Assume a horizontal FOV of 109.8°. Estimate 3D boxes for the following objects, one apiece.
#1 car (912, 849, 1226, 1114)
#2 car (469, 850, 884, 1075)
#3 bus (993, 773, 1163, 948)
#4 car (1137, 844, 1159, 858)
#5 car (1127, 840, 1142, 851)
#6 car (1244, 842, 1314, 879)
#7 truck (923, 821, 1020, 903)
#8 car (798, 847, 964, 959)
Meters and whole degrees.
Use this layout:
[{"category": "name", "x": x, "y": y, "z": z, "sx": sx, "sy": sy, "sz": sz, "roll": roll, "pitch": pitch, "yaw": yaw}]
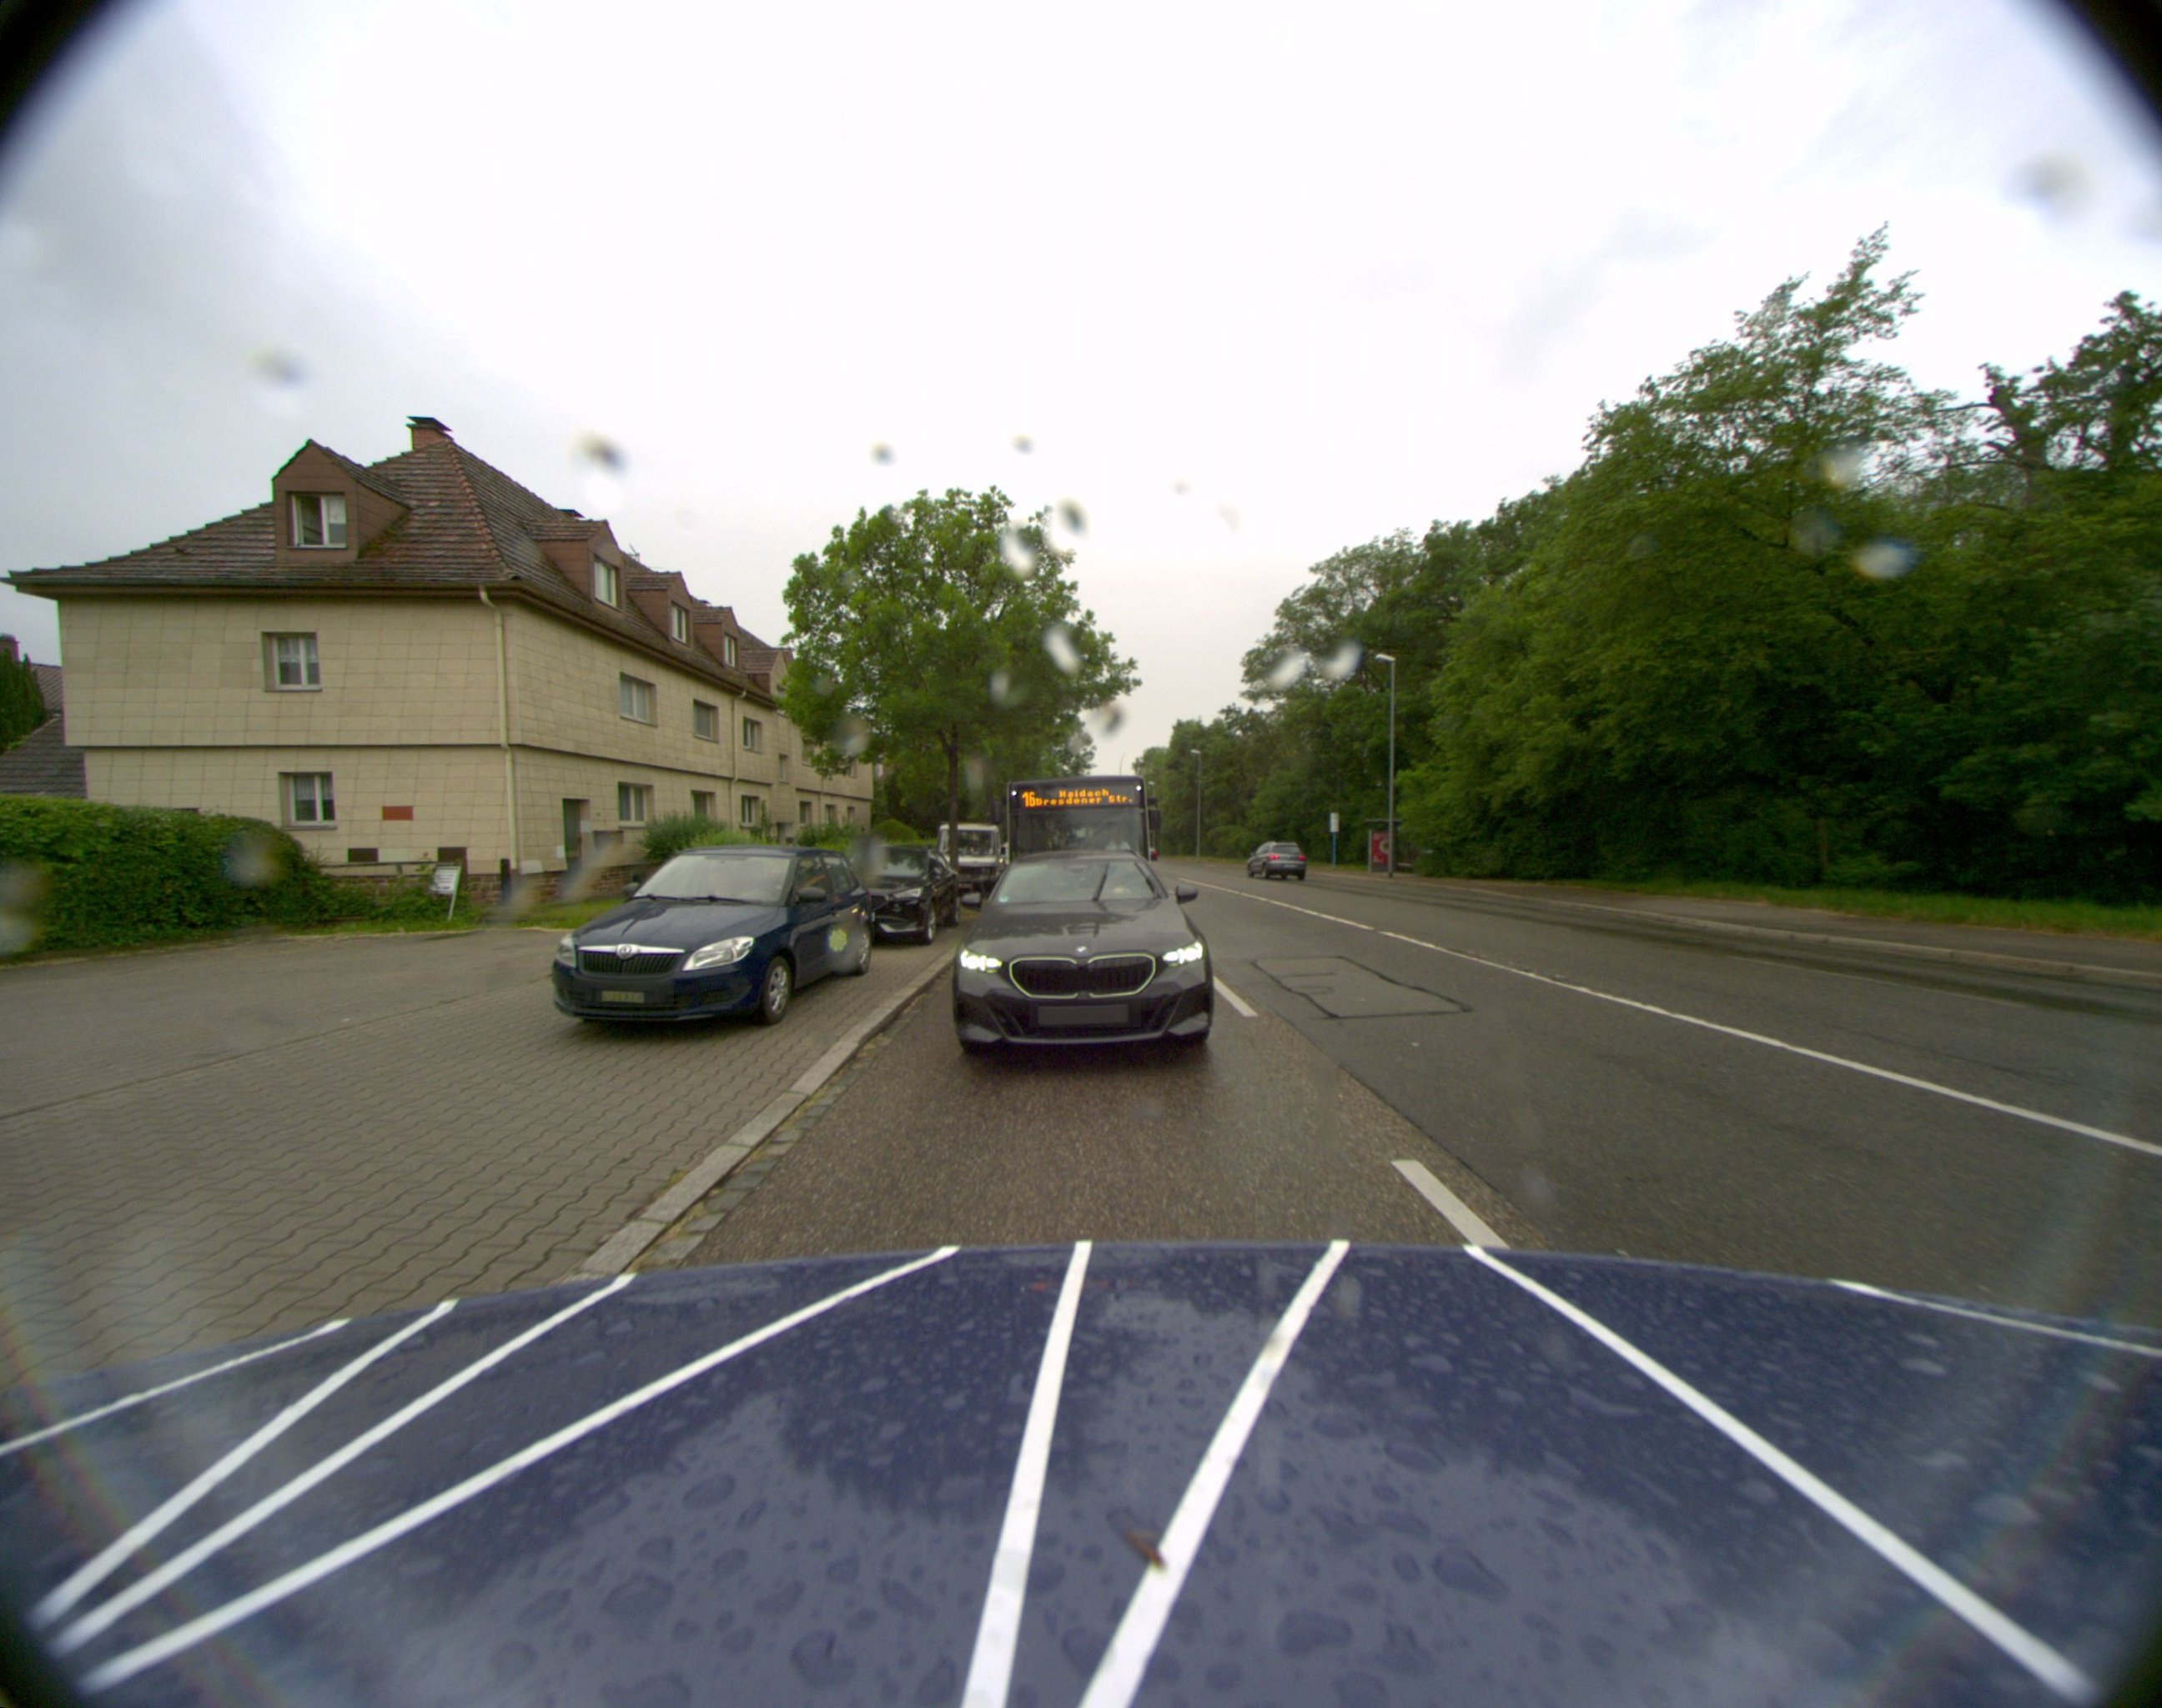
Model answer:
[{"category": "car", "x": -0.049, "y": 0.789, "z": 6.911, "sx": 1.882, "sy": 1.520, "sz": 4.315, "roll": -3, "pitch": 1, "yaw": 1}, {"category": "car", "x": -3.263, "y": 0.726, "z": 7.151, "sx": 1.720, "sy": 1.416, "sz": 3.999, "roll": 1, "pitch": 2, "yaw": 1}, {"category": "bus", "x": 0.069, "y": -0.007, "z": 17.533, "sx": 2.767, "sy": 2.858, "sz": 9.401, "roll": -2, "pitch": 1, "yaw": 1}, {"category": "car", "x": 7.411, "y": -0.361, "z": 84.451, "sx": 1.915, "sy": 1.446, "sz": 4.946, "roll": 3, "pitch": 1, "yaw": -1}, {"category": "car", "x": 6.837, "y": -1.108, "z": 97.738, "sx": 1.598, "sy": 1.420, "sz": 3.904, "roll": 0, "pitch": 1, "yaw": -2}, {"category": "car", "x": 8.957, "y": 0.266, "z": 34.790, "sx": 1.913, "sy": 1.581, "sz": 4.315, "roll": 0, "pitch": 1, "yaw": -2}, {"category": "truck", "x": -3.172, "y": 0.182, "z": 23.321, "sx": 1.998, "sy": 2.184, "sz": 5.755, "roll": 0, "pitch": 1, "yaw": 1}, {"category": "car", "x": -3.068, "y": 0.665, "z": 12.485, "sx": 1.720, "sy": 1.456, "sz": 3.998, "roll": 1, "pitch": 2, "yaw": -1}]
